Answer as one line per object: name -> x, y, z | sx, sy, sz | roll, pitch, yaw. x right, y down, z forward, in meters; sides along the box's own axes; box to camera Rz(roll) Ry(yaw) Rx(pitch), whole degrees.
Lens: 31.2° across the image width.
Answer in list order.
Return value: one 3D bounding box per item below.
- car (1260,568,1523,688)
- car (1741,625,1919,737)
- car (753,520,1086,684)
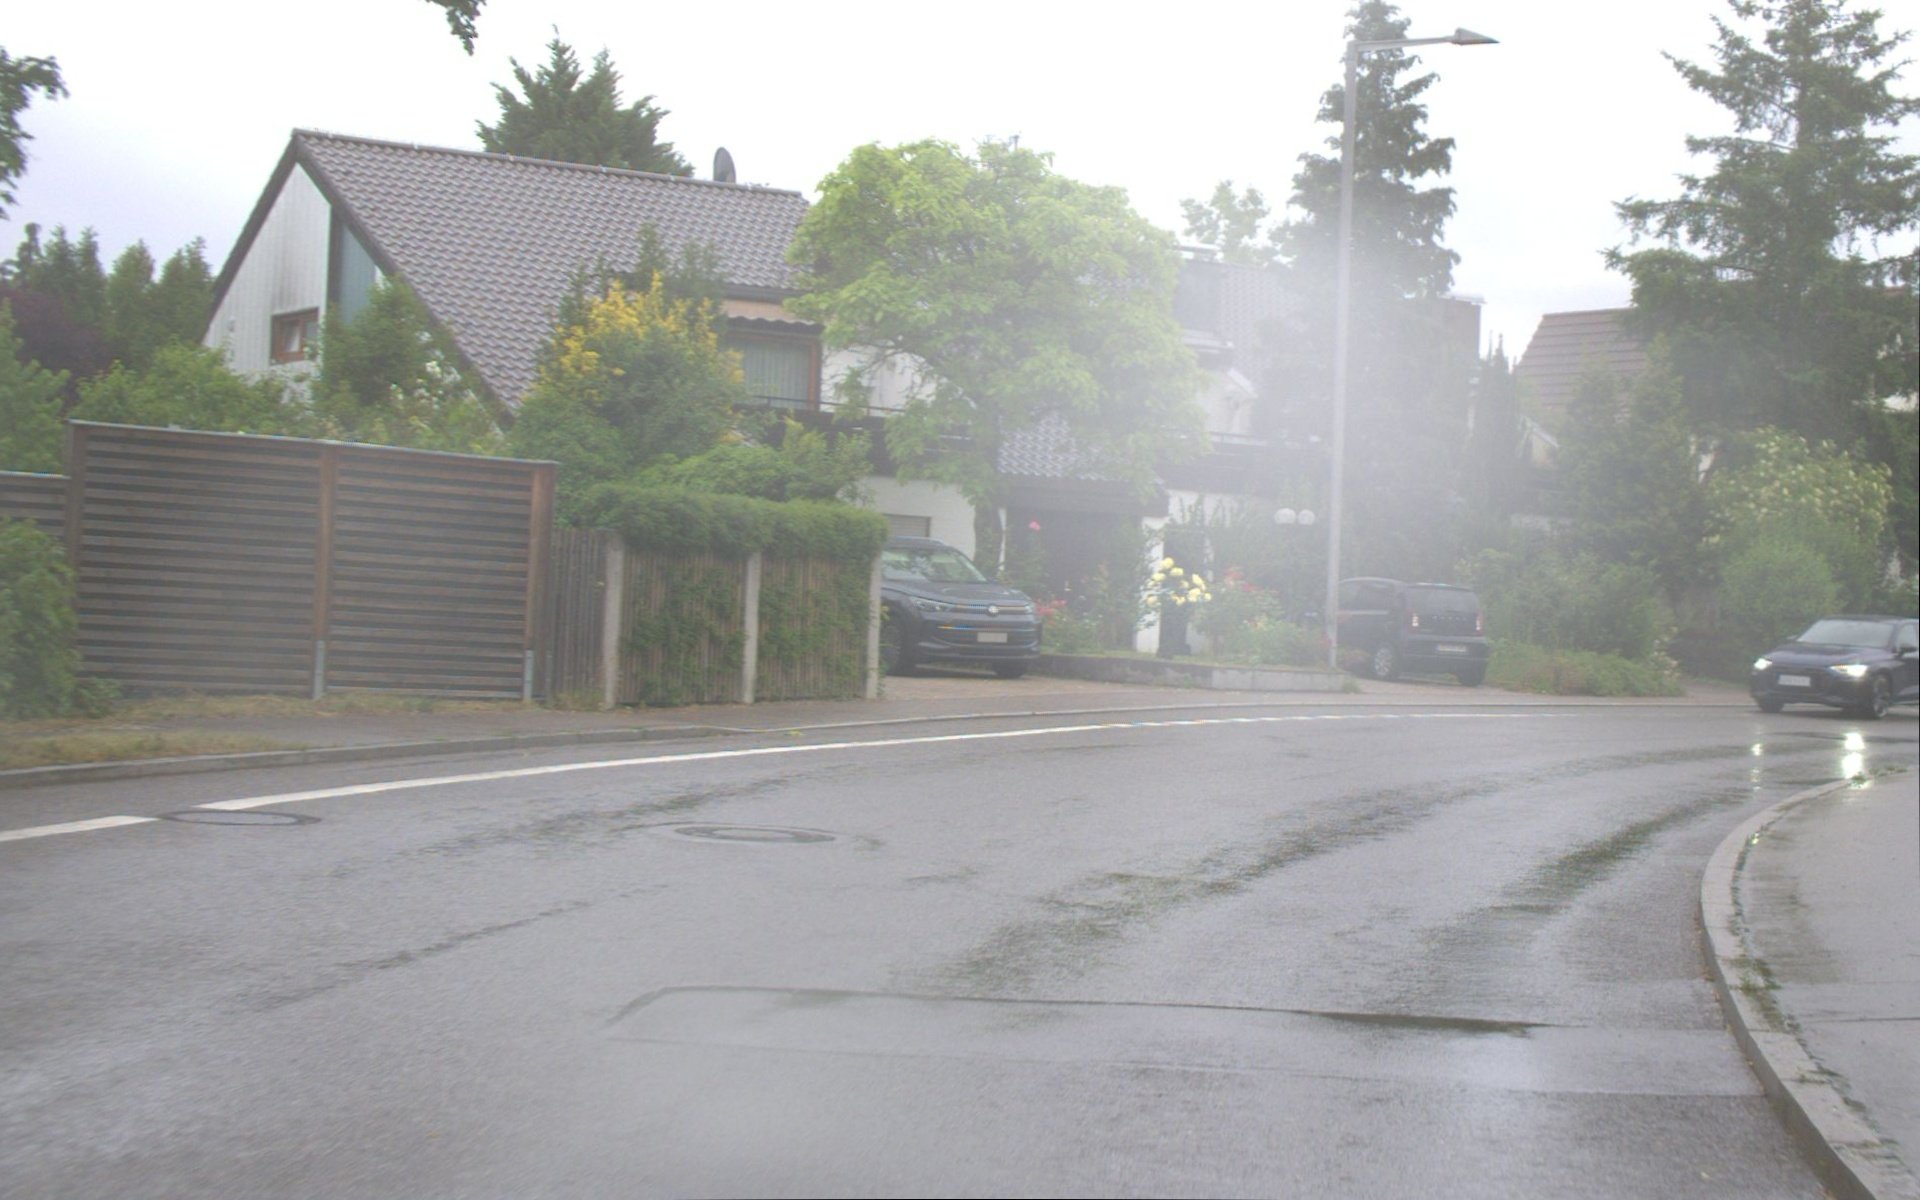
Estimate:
car -> 6.173, 0.373, 49.636 | 1.934, 1.384, 4.001 | 5, 0, -23
car -> 12.803, 1.157, 48.627 | 1.781, 1.415, 4.156 | 4, 1, 38
car -> -0.550, -0.001, 42.113 | 2.008, 1.626, 4.000 | 4, 1, -36
